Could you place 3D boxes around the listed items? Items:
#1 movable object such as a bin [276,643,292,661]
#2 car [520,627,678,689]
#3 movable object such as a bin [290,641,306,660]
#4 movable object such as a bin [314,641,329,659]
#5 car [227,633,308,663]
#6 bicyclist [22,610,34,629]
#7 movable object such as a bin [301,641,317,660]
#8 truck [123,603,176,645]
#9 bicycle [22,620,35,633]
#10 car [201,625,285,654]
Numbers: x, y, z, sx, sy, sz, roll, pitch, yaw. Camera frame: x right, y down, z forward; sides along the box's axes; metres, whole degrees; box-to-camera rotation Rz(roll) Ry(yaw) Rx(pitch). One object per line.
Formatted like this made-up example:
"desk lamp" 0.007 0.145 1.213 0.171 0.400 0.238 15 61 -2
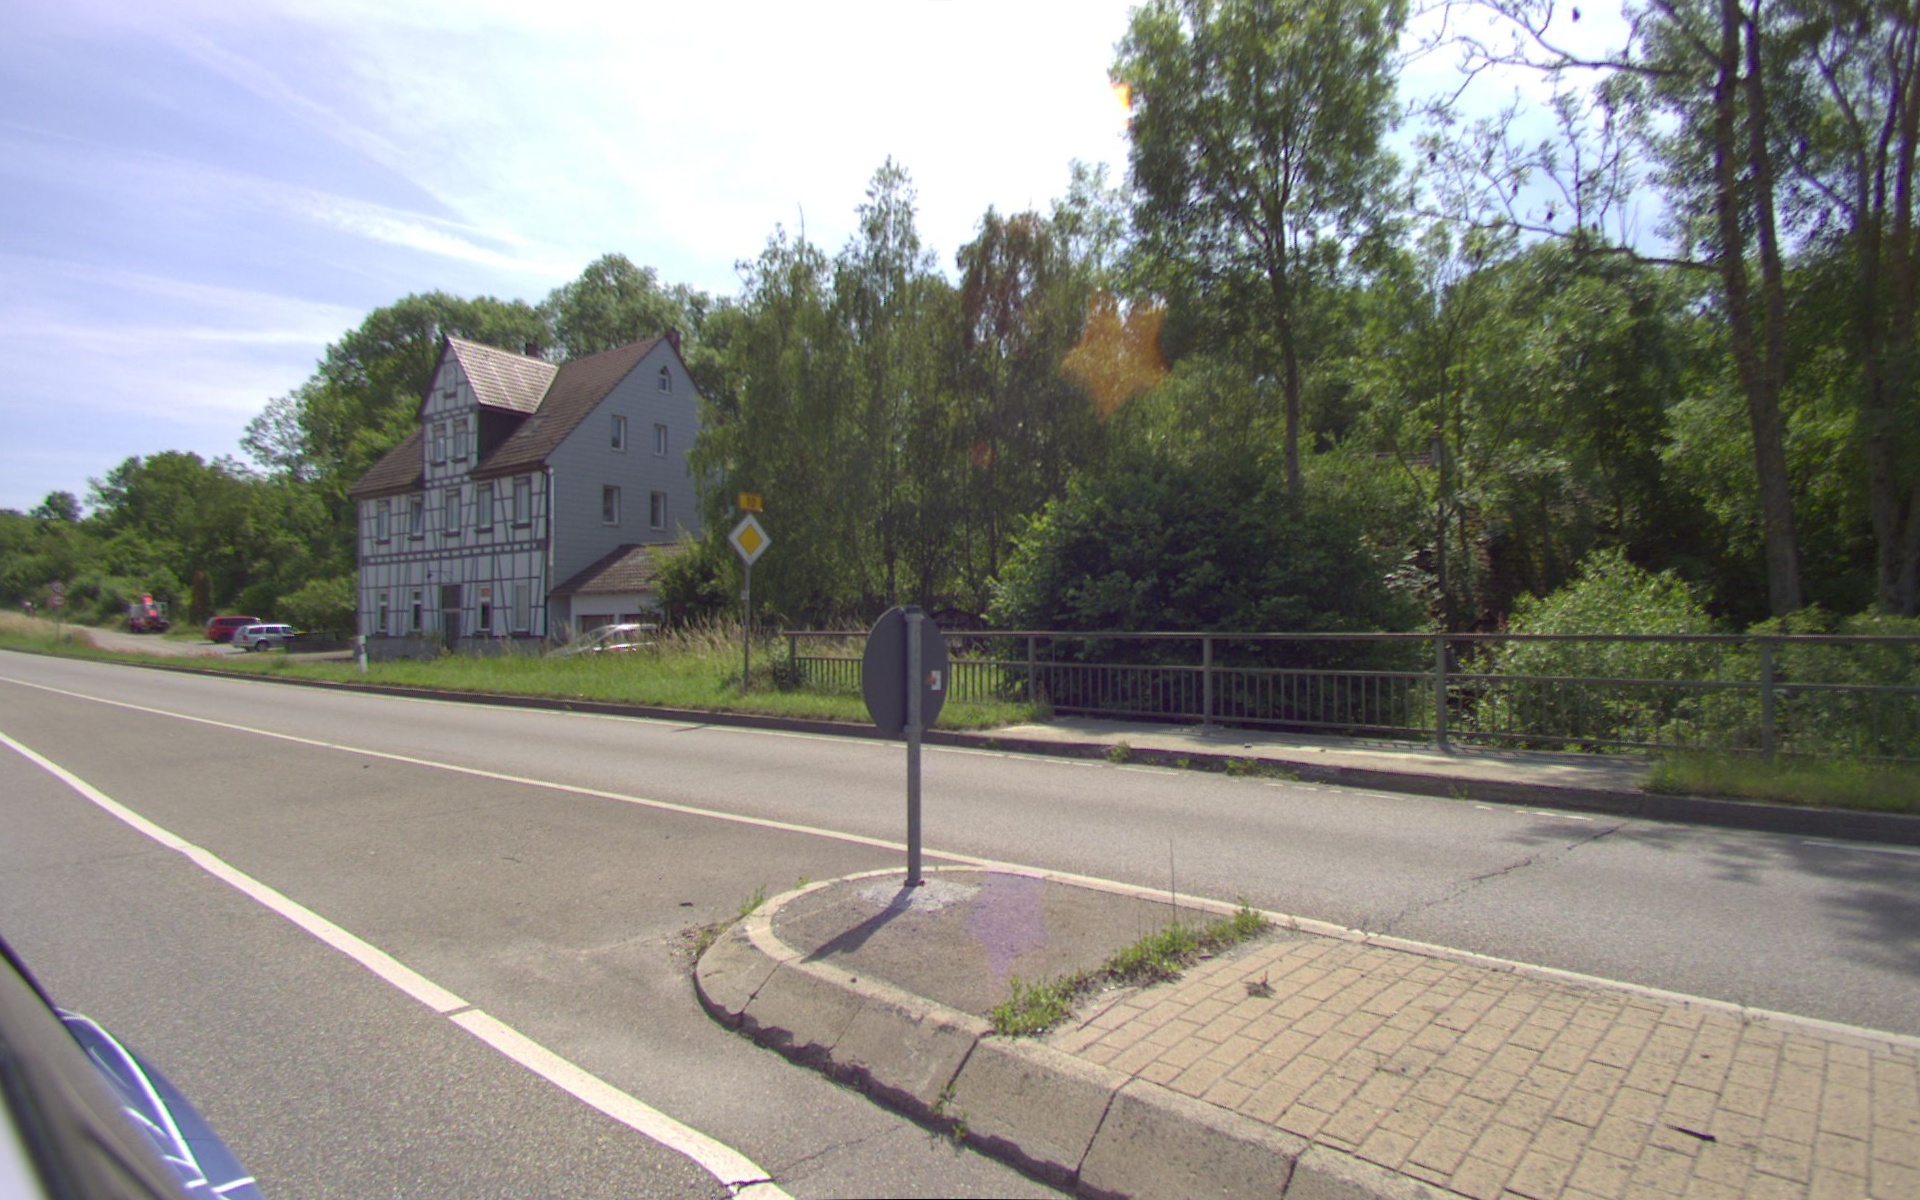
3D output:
"movable object such as a bin" -36.399 2.808 54.459 0.653 0.943 0.499 0 0 33
"car" -11.724 1.857 33.147 1.858 1.733 4.621 -4 -2 36
"movable object such as a bin" -35.991 2.721 54.994 0.653 0.977 0.499 0 0 33
"movable object such as a bin" -35.296 2.771 55.944 0.653 0.984 0.499 0 0 33
"car" -38.355 2.616 56.074 1.606 1.476 3.348 -1 0 34
"bicyclist" -87.059 1.853 94.573 0.936 1.727 0.740 -1 0 43
"movable object such as a bin" -35.688 2.764 55.475 0.653 0.978 0.499 0 0 33
"truck" -61.435 1.780 76.652 6.771 2.986 2.005 -1 1 42
"bicycle" -86.937 2.485 94.474 2.105 1.189 0.740 -1 1 43
"car" -45.039 2.471 63.618 1.832 1.631 3.985 -1 0 41
